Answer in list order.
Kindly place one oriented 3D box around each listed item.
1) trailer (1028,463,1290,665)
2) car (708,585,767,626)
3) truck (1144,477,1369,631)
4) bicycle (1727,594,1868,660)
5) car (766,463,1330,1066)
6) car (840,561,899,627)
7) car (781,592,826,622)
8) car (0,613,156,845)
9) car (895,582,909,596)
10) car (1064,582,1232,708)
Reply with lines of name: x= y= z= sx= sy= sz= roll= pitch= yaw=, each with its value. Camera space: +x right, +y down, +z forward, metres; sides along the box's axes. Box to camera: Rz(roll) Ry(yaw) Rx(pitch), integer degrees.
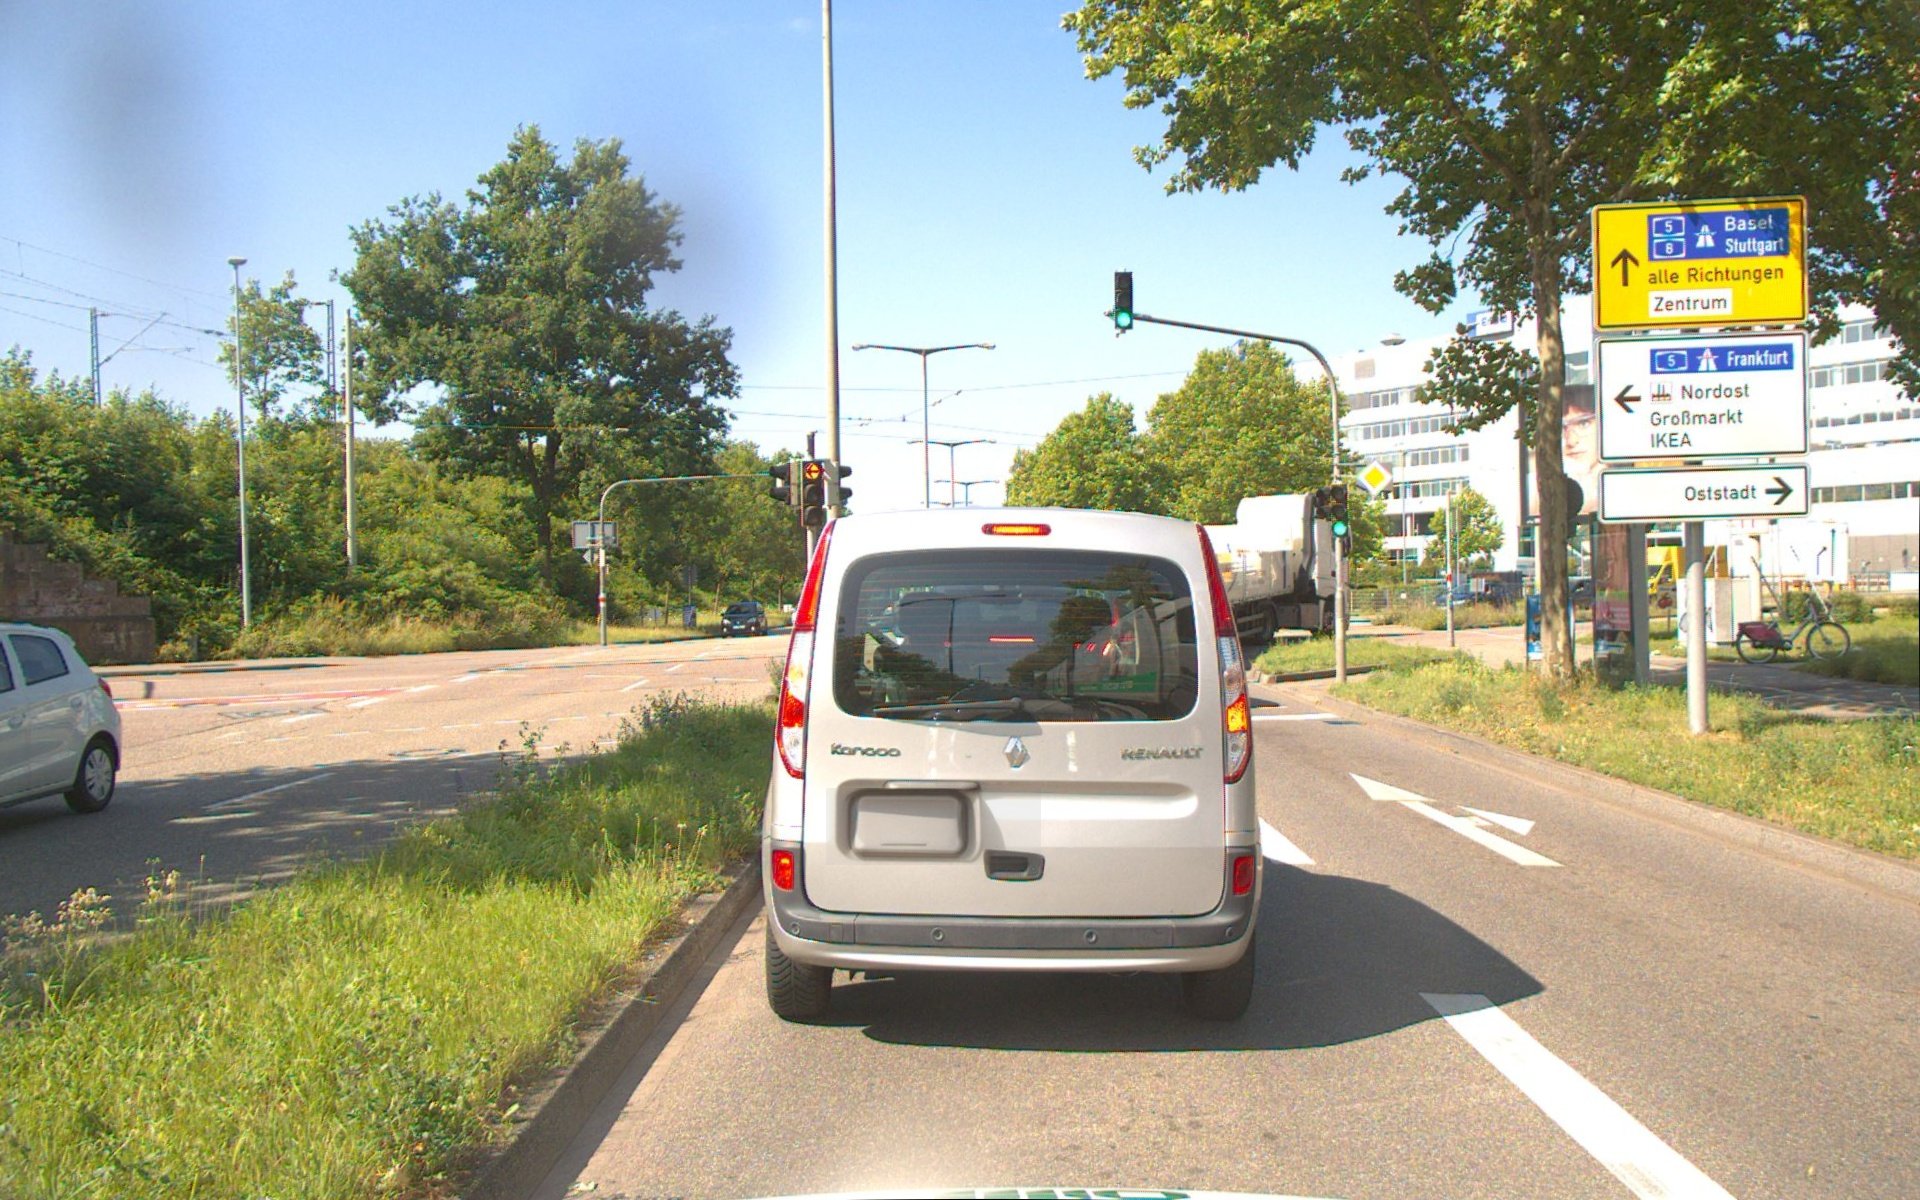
trailer: x=4.826 y=-0.614 z=36.577 sx=2.840 sy=3.686 sz=12.687 roll=1 pitch=0 yaw=20
car: x=-9.502 y=0.243 z=70.766 sx=1.872 sy=1.670 sz=3.738 roll=-1 pitch=0 yaw=2
truck: x=7.980 y=-1.081 z=43.705 sx=2.863 sy=3.707 sz=7.157 roll=1 pitch=0 yaw=38
bicycle: x=13.725 y=0.440 z=27.155 sx=1.959 sy=1.031 sz=0.621 roll=-1 pitch=0 yaw=16
car: x=0.254 y=0.528 z=7.207 sx=1.750 sy=1.870 sz=3.999 roll=1 pitch=0 yaw=-1
car: x=-3.764 y=-0.236 z=69.581 sx=1.952 sy=2.653 sz=5.135 roll=-1 pitch=0 yaw=2
car: x=-8.684 y=0.390 z=92.145 sx=1.952 sy=1.567 sz=4.237 roll=-1 pitch=0 yaw=2
car: x=-7.394 y=0.916 z=11.499 sx=1.665 sy=1.534 sz=3.999 roll=-1 pitch=1 yaw=-1
car: x=-8.699 y=-1.618 z=250.027 sx=1.849 sy=2.049 sz=4.001 roll=1 pitch=0 yaw=1
car: x=2.593 y=0.595 z=23.800 sx=1.837 sy=1.619 sz=4.432 roll=1 pitch=0 yaw=-1
